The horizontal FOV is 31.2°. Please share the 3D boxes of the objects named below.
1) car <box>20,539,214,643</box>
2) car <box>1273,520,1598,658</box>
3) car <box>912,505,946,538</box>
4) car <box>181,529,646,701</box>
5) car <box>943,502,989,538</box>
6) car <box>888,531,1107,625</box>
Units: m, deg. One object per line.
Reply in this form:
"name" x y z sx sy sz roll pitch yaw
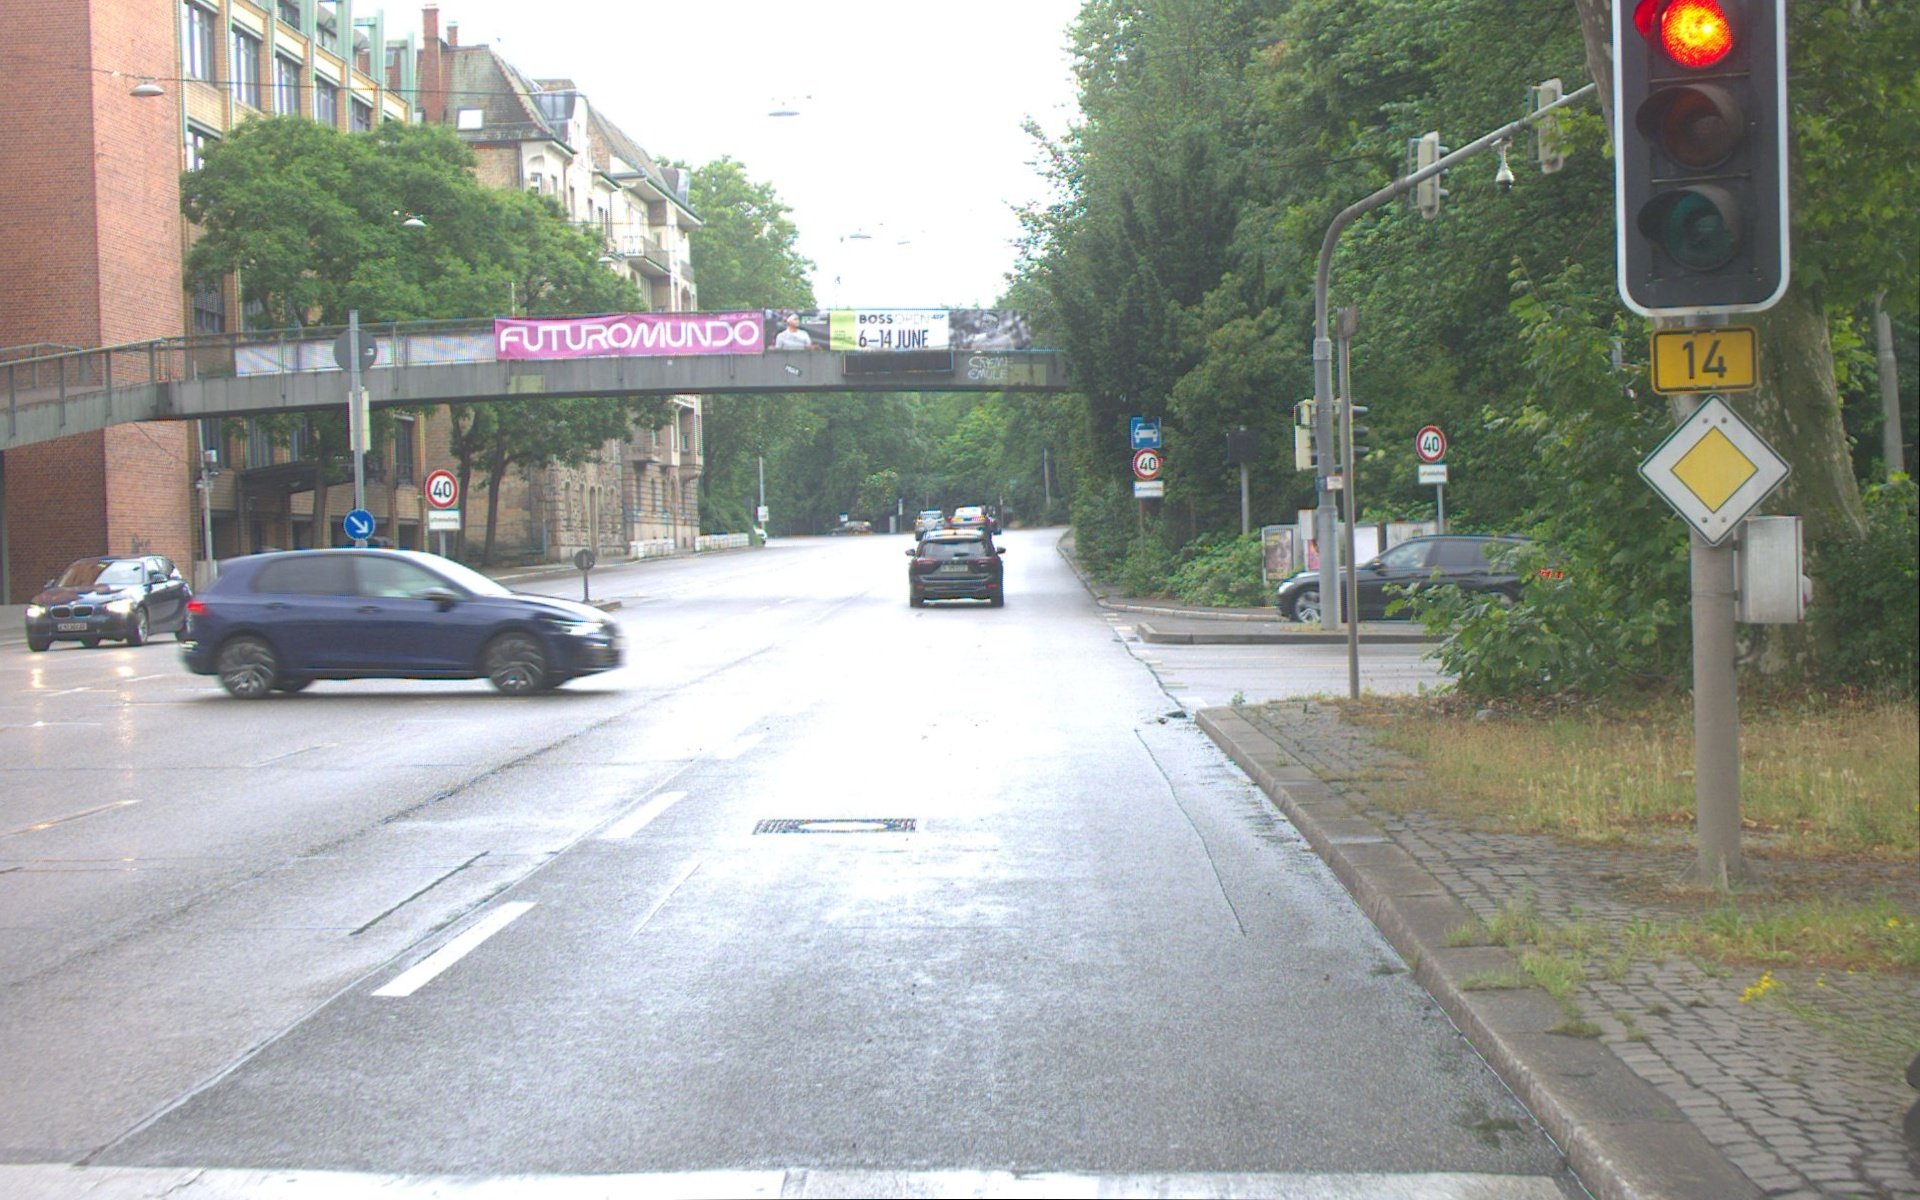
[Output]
"car" -13.114 -0.170 53.703 1.993 1.514 4.000 -1 1 0
"car" 7.146 -0.166 51.655 4.344 1.829 2.133 -3 1 24
"car" -1.701 -4.301 189.339 1.763 1.691 3.706 -3 1 0
"car" -5.328 0.137 33.693 4.137 1.441 1.585 -3 1 10
"car" 0.301 -3.995 171.933 2.120 1.729 4.199 0 2 -2
"car" 0.645 -0.439 63.158 1.875 1.632 4.525 -1 2 -32
